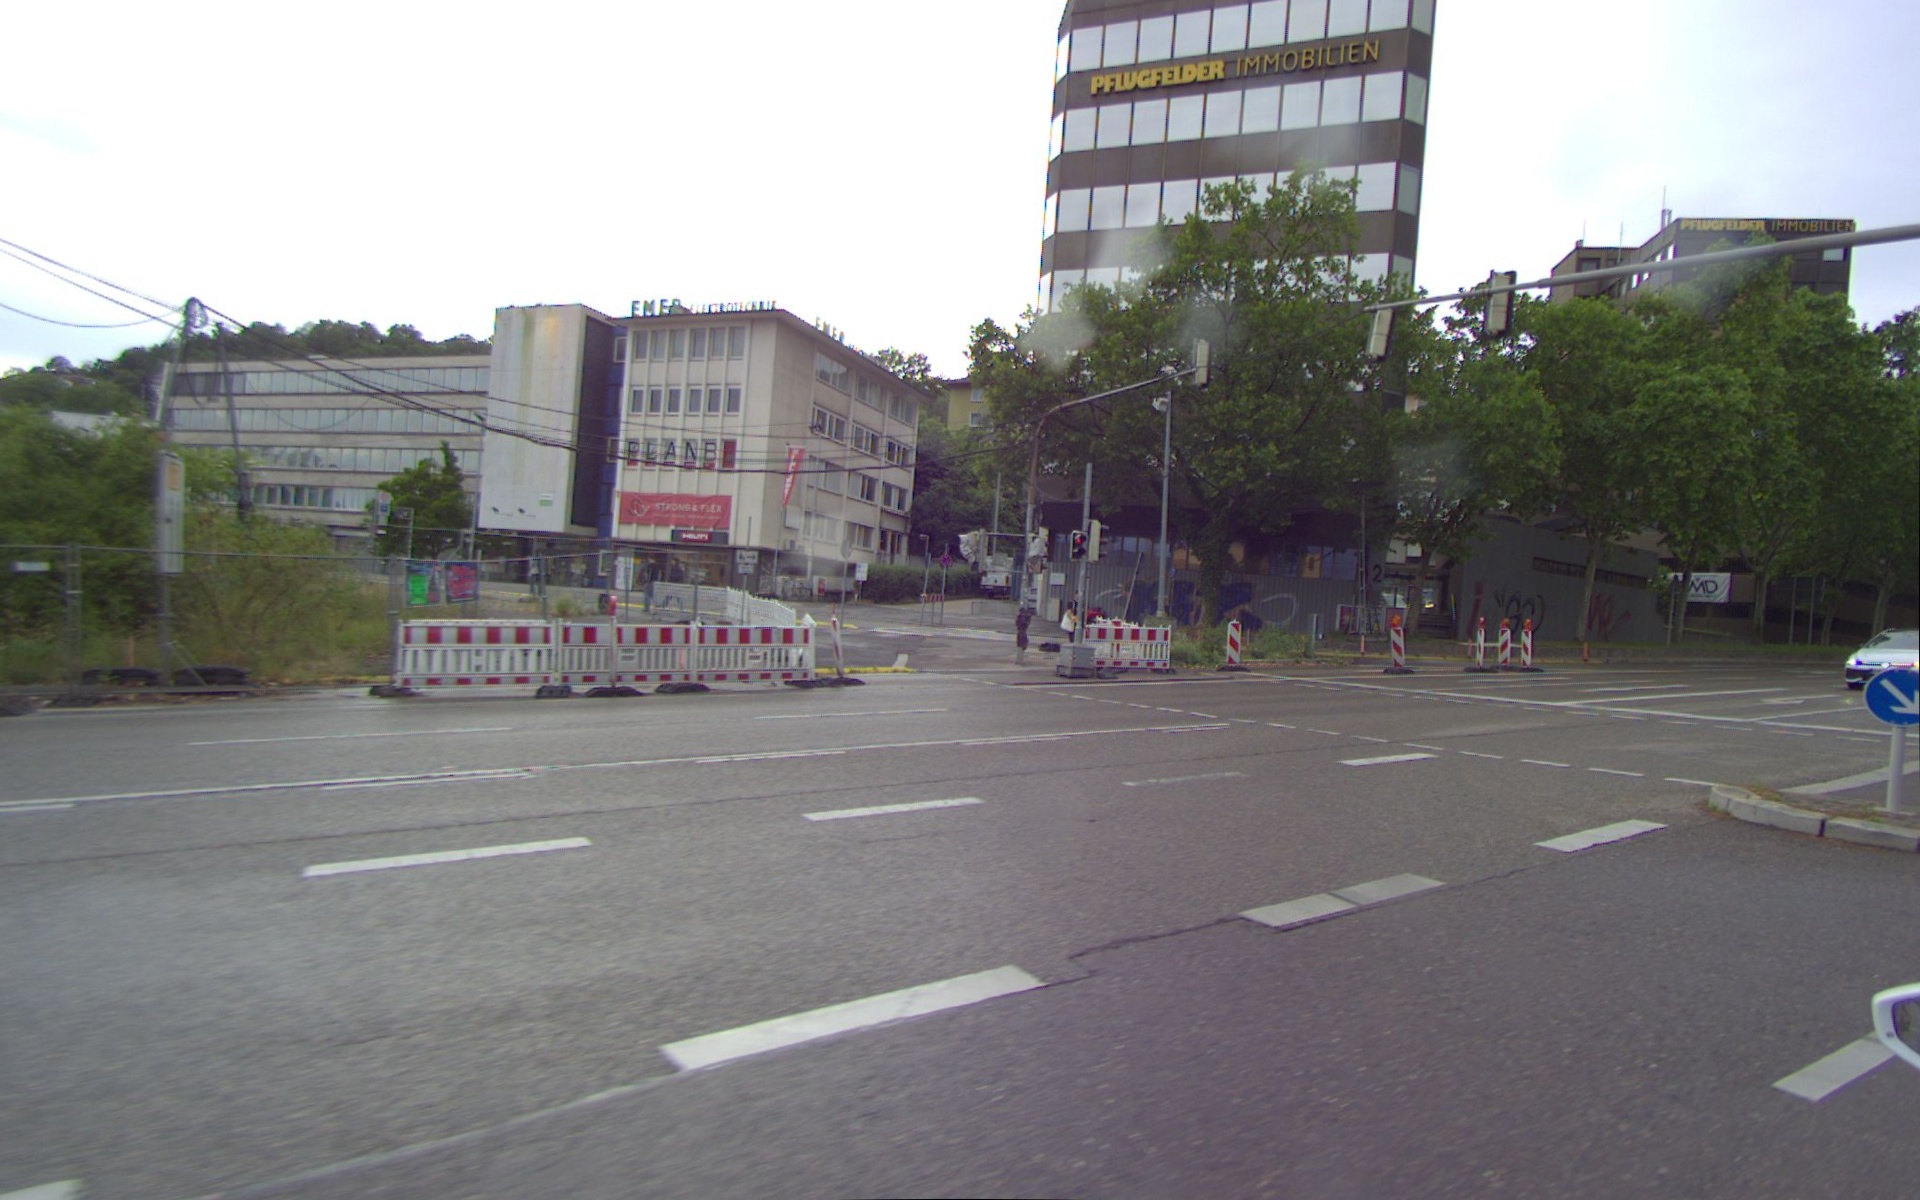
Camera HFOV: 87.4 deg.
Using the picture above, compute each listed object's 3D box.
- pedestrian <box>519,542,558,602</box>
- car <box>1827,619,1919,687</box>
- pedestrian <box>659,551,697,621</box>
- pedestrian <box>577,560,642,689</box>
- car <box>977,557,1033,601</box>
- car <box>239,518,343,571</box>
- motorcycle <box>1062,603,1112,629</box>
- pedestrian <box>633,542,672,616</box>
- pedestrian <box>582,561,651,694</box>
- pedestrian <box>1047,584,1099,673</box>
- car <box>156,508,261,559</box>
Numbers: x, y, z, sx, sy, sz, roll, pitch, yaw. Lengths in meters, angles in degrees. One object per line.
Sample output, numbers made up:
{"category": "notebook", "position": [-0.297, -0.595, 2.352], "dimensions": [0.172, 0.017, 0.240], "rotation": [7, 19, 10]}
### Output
{"category": "pedestrian", "position": [-13.381, -0.876, 31.903], "dimensions": [0.769, 1.877, 0.768], "rotation": [2, 1, 23]}
{"category": "car", "position": [22.906, 1.253, 24.289], "dimensions": [4.311, 1.480, 1.751], "rotation": [2, -1, -32]}
{"category": "pedestrian", "position": [-8.919, -0.441, 31.808], "dimensions": [0.728, 2.168, 0.747], "rotation": [4, 0, 23]}
{"category": "pedestrian", "position": [-5.510, 0.382, 15.783], "dimensions": [0.733, 1.947, 0.758], "rotation": [4, -1, -28]}
{"category": "car", "position": [3.049, -1.320, 66.162], "dimensions": [2.184, 2.474, 5.507], "rotation": [4, -1, 18]}
{"category": "car", "position": [-29.218, -2.433, 43.856], "dimensions": [3.923, 1.991, 1.814], "rotation": [4, -1, 22]}
{"category": "motorcycle", "position": [5.719, 0.719, 45.272], "dimensions": [2.142, 1.051, 0.565], "rotation": [3, 0, 25]}
{"category": "pedestrian", "position": [-9.484, -0.646, 31.024], "dimensions": [0.688, 2.200, 0.747], "rotation": [4, -1, 23]}
{"category": "pedestrian", "position": [-5.178, 0.406, 15.117], "dimensions": [0.766, 1.926, 0.669], "rotation": [4, -1, -28]}
{"category": "pedestrian", "position": [2.509, 0.638, 22.327], "dimensions": [0.741, 1.905, 0.734], "rotation": [4, -1, -40]}
{"category": "car", "position": [-34.334, -3.035, 45.914], "dimensions": [3.923, 2.040, 2.000], "rotation": [4, -1, 22]}
